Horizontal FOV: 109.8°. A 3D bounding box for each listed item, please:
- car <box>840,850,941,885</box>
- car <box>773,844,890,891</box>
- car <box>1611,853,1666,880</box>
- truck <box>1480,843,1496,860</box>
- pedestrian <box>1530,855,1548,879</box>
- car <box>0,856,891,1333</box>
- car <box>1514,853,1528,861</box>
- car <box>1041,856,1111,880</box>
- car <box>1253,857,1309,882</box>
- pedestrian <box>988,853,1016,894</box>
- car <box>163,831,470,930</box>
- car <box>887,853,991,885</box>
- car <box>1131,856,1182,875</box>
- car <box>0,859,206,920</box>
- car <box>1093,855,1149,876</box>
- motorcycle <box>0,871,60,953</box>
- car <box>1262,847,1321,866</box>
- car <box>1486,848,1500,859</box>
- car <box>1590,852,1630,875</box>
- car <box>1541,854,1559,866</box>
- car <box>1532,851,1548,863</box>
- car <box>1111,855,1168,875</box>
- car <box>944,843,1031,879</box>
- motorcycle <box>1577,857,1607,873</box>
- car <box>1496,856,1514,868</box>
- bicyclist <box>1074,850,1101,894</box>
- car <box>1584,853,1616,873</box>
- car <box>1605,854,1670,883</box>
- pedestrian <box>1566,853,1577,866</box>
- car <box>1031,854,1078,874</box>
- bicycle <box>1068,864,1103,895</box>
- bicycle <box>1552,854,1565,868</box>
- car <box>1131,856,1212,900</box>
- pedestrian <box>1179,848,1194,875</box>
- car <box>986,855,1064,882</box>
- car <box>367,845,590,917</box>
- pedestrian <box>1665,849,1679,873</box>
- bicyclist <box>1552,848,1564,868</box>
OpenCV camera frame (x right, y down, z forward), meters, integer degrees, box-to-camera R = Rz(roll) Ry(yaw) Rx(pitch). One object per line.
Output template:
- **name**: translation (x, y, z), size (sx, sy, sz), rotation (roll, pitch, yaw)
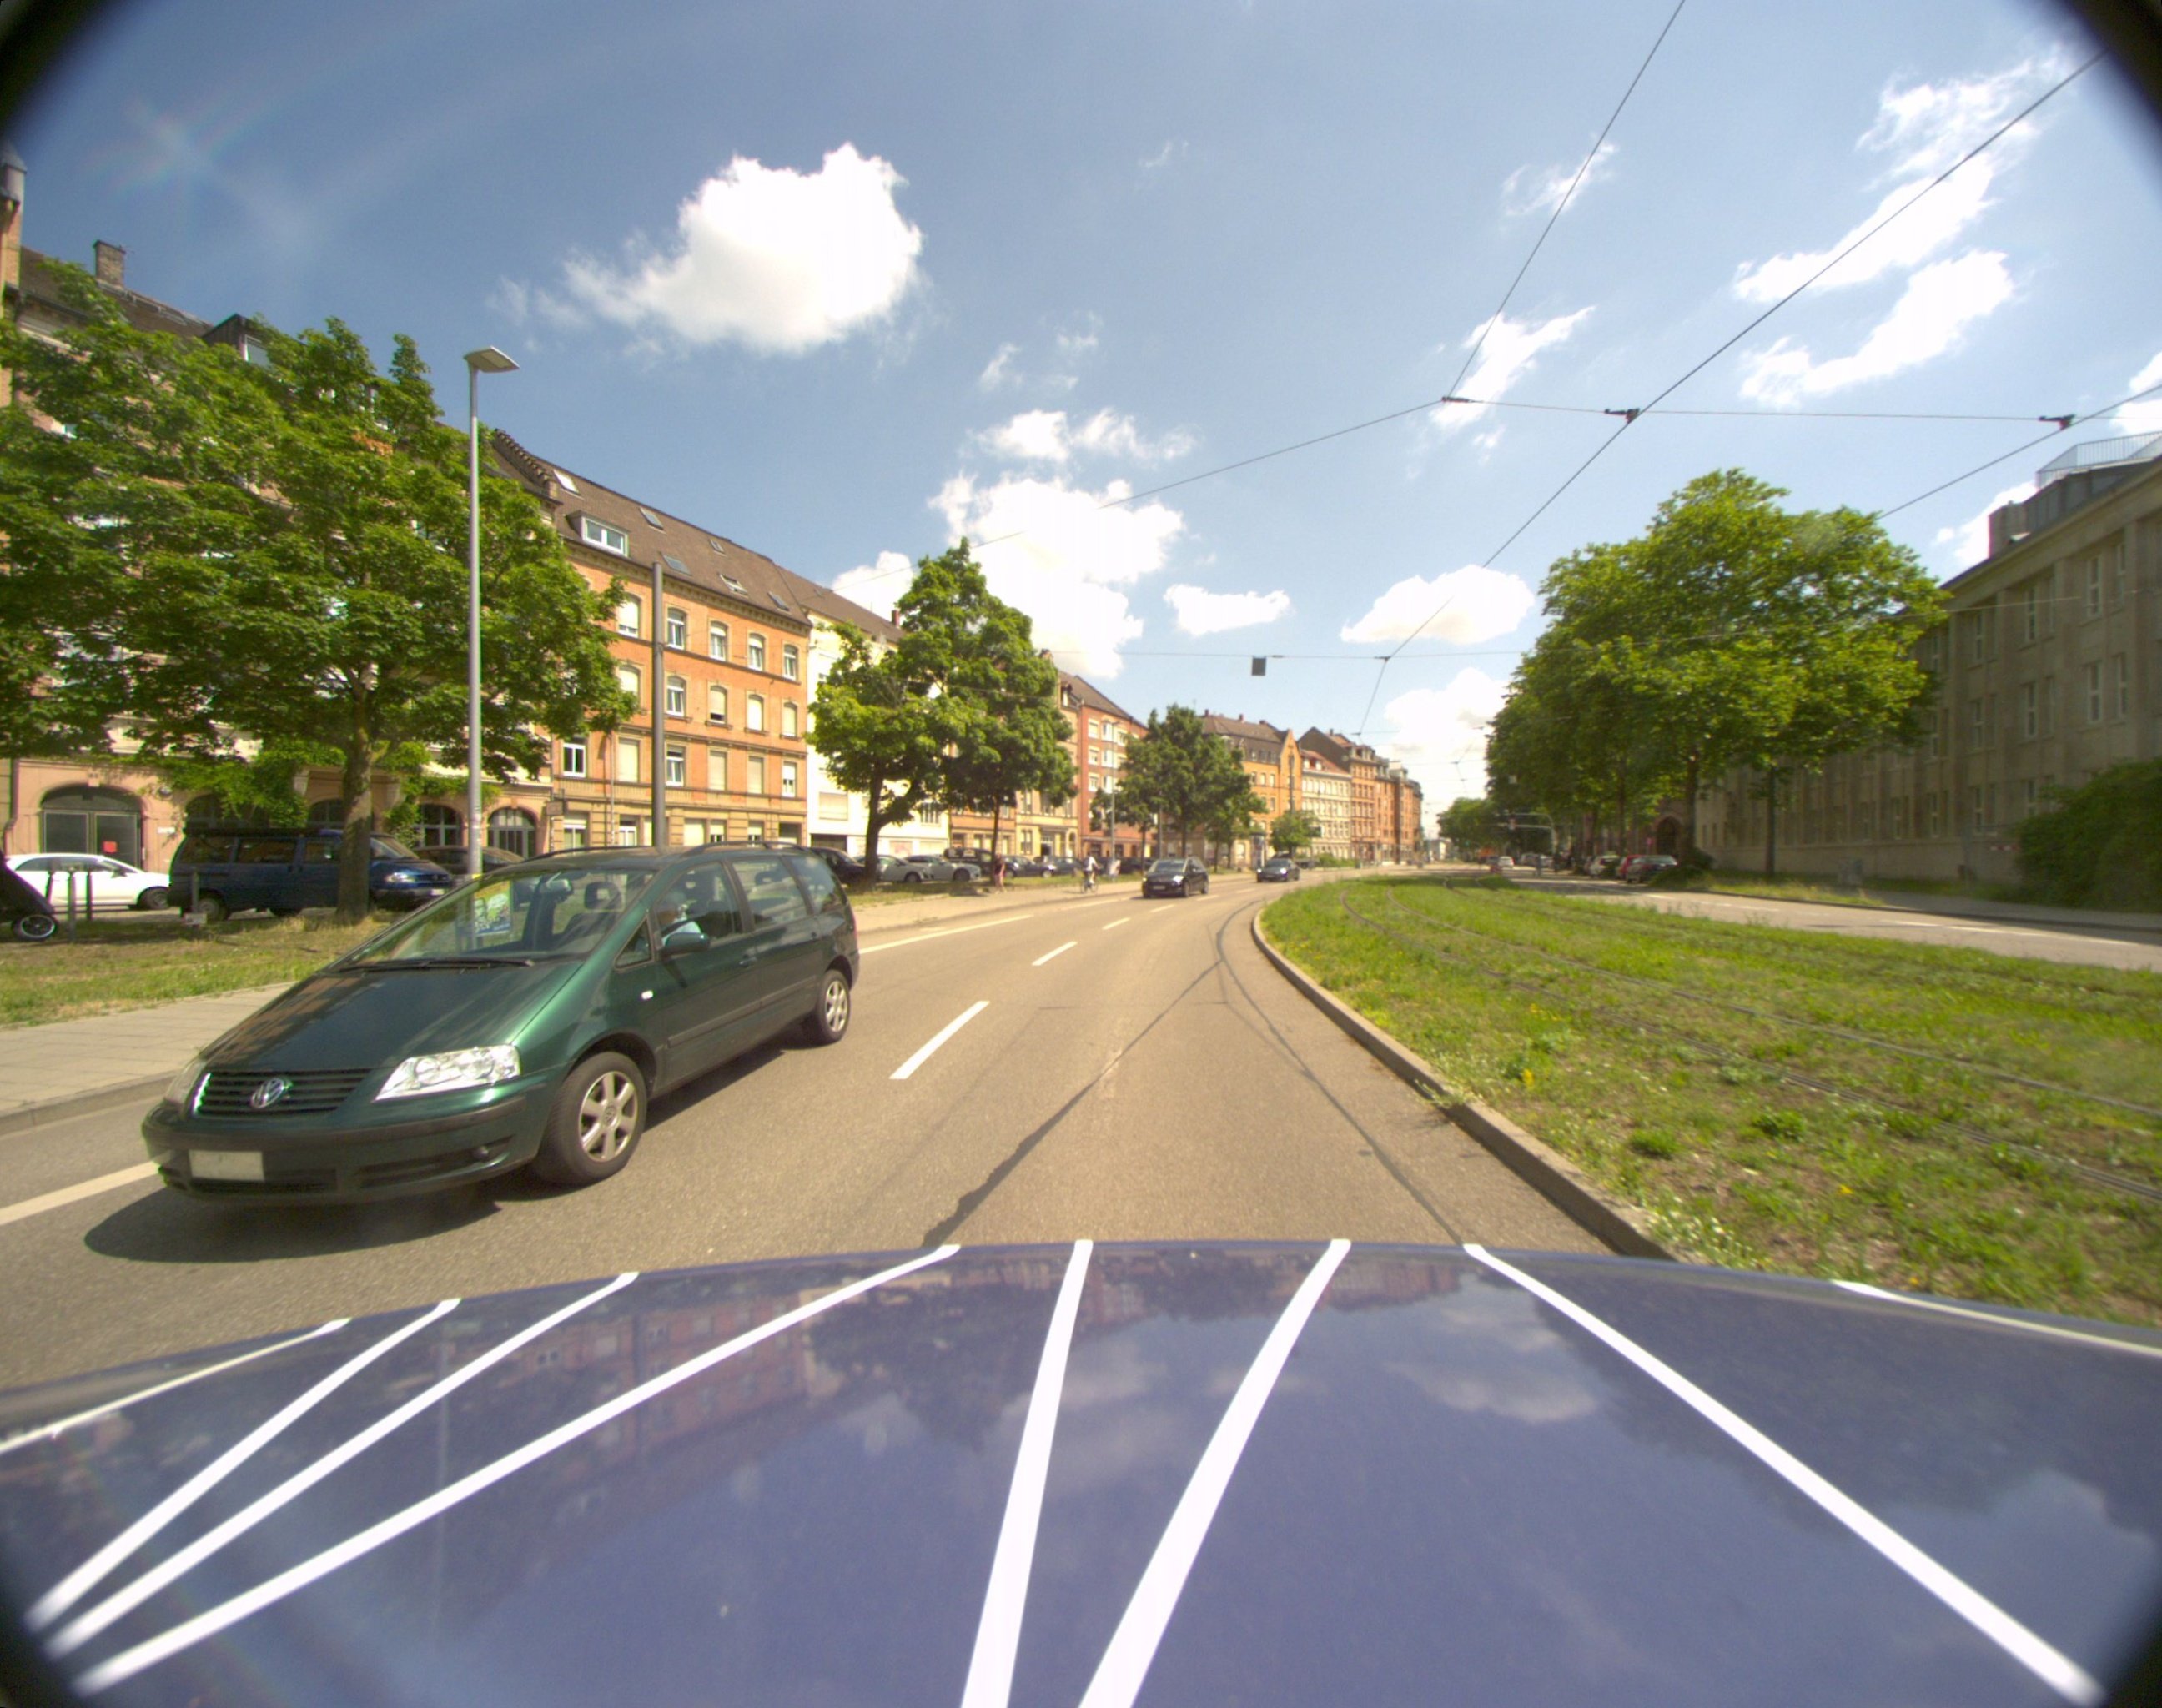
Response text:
- **car**: translation (-8.315, 0.595, 33.533), size (4.085, 1.397, 1.851), rotation (-1, 0, -7)
- **car**: translation (-10.083, 0.541, 30.932), size (4.148, 1.731, 1.852), rotation (-1, 0, -3)
- **car**: translation (31.980, 0.711, 43.668), size (1.928, 1.411, 4.058), rotation (-2, -1, 28)
- **truck**: translation (78.930, -0.555, 147.530), size (2.640, 3.088, 7.236), rotation (2, 1, 28)
- **pedestrian**: translation (32.580, 0.909, 54.040), size (0.784, 1.694, 0.701), rotation (-2, 0, -15)
- **car**: translation (-3.102, 0.924, 5.395), size (1.822, 1.746, 5.033), rotation (-2, 0, 5)
- **car**: translation (85.282, 0.630, 147.318), size (1.758, 1.488, 4.006), rotation (-2, 0, 21)
- **car**: translation (-0.327, 0.873, 48.906), size (4.269, 1.372, 1.851), rotation (-1, 0, -8)
- **car**: translation (12.424, 0.929, 46.983), size (1.911, 1.385, 4.322), rotation (-1, 0, 35)
- **pedestrian**: translation (-3.146, 0.752, 30.325), size (0.700, 1.583, 0.907), rotation (3, 2, 27)
- **car**: translation (-16.606, 0.552, 16.724), size (4.628, 1.916, 1.916), rotation (-1, 0, -3)
- **car**: translation (-6.694, 0.716, 36.278), size (4.692, 1.372, 1.851), rotation (-1, 0, -6)
- **car**: translation (6.070, 0.908, 61.106), size (3.995, 1.346, 1.962), rotation (-2, 0, 5)
- **car**: translation (-24.808, 0.833, 19.158), size (1.564, 1.395, 3.357), rotation (0, 0, 30)
- **car**: translation (2.884, 0.839, 55.515), size (3.997, 1.372, 1.961), rotation (-2, 0, 0)
- **motorcycle**: translation (-15.918, 0.836, 10.623), size (0.638, 1.160, 1.910), rotation (0, 0, 40)
- **car**: translation (26.535, 0.287, 95.673), size (6.964, 2.360, 2.266), rotation (0, 0, 22)
- **car**: translation (69.622, -0.126, 128.539), size (1.921, 1.736, 4.545), rotation (3, 2, 27)
- **car**: translation (36.594, 0.653, 52.644), size (1.748, 1.445, 3.498), rotation (-2, -1, 26)
- **car**: translation (61.134, 0.799, 99.138), size (1.758, 1.488, 4.007), rotation (-2, 0, 28)
- **car**: translation (68.201, 0.436, 112.962), size (1.758, 1.825, 4.007), rotation (-1, 0, 28)
- **car**: translation (4.449, 0.818, 58.061), size (3.999, 1.372, 1.961), rotation (-1, 0, -5)
- **car**: translation (-4.904, 0.366, 39.706), size (4.366, 1.731, 1.851), rotation (-1, 0, -8)
- **motorcycle**: translation (41.164, 0.883, 61.173), size (2.107, 1.168, 0.544), rotation (-3, -3, -10)
- **car**: translation (54.348, 1.026, 97.369), size (1.761, 1.471, 3.795), rotation (2, 0, 27)
- **bicyclist**: translation (0.281, 0.777, 32.775), size (0.694, 1.814, 0.958), rotation (6, 2, 27)
- **car**: translation (38.758, 0.675, 56.773), size (1.488, 1.445, 2.888), rotation (-2, -1, 26)
- **car**: translation (28.624, 0.746, 39.239), size (1.928, 1.360, 4.325), rotation (-2, -1, 26)
- **pedestrian**: translation (47.951, 0.524, 74.346), size (0.756, 1.204, 0.915), rotation (-6, -2, 30)
- **car**: translation (-2.190, 0.804, 64.357), size (1.833, 1.606, 4.504), rotation (-2, 0, 31)
- **bicycle**: translation (0.209, 1.067, 32.721), size (0.694, 1.235, 1.843), rotation (6, 2, 27)
- **bicycle**: translation (41.288, 0.587, 65.693), size (0.791, 1.103, 2.281), rotation (-1, 0, 29)
- **car**: translation (3.797, 0.928, 31.219), size (1.872, 1.610, 4.197), rotation (-1, 0, 29)
- **pedestrian**: translation (6.802, 0.491, 48.963), size (0.700, 1.695, 1.046), rotation (1, 2, 26)
- **car**: translation (-3.223, 0.815, 43.233), size (4.269, 1.372, 1.851), rotation (-1, 0, -8)
- **car**: translation (-15.281, 0.665, 19.444), size (4.171, 1.646, 1.917), rotation (-2, 0, 1)
- **pedestrian**: translation (39.302, 0.447, 50.553), size (0.554, 1.582, 0.797), rotation (-1, 0, 27)
- **bicyclist**: translation (41.223, 0.307, 65.624), size (0.762, 1.694, 0.785), rotation (-1, 0, 27)
